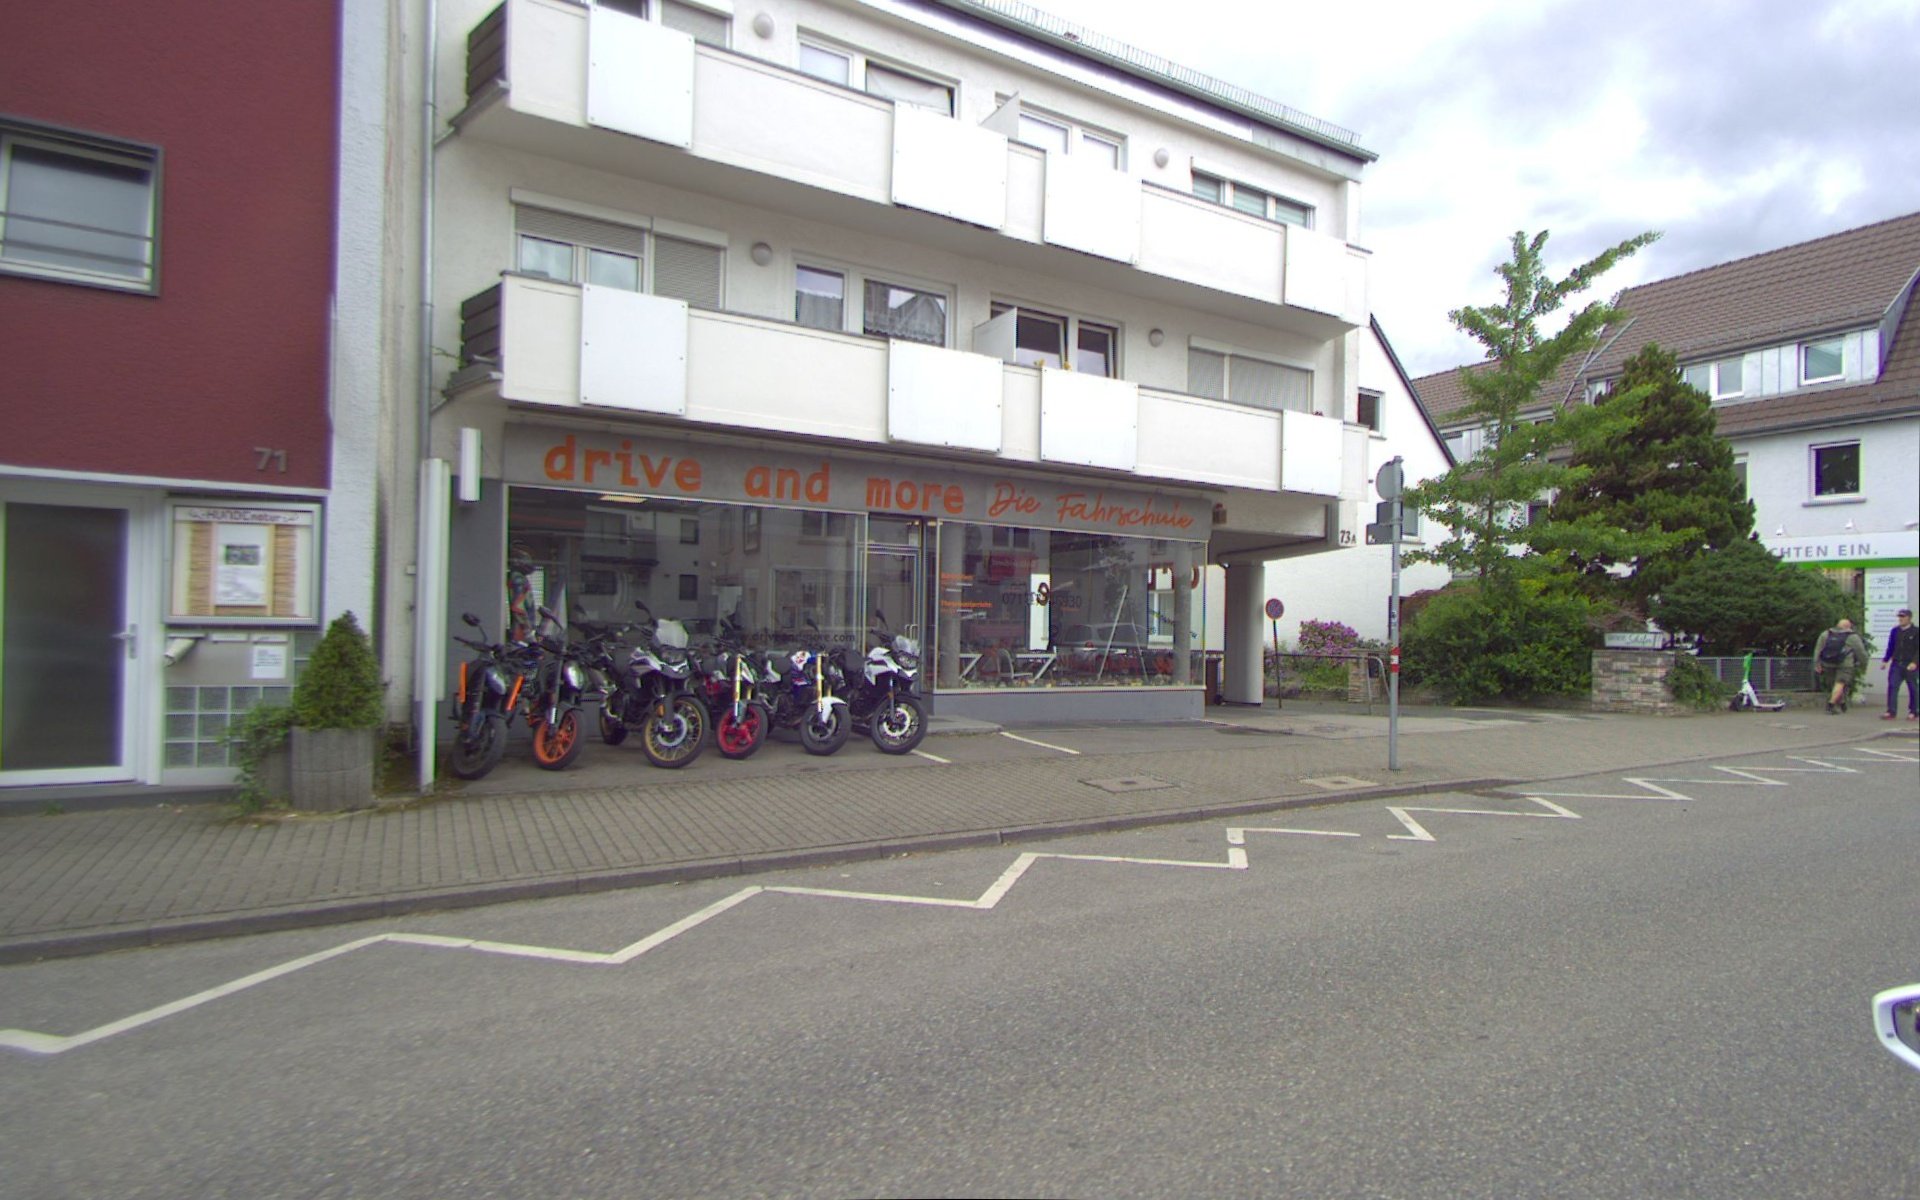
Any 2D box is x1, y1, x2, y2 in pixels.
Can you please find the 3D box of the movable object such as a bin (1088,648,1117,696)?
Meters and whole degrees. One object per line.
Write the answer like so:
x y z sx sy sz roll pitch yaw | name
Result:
3.224 1.619 22.690 0.436 1.071 0.486 1 -3 -29 | movable object such as a bin

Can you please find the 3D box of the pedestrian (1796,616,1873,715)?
16.288 1.203 18.712 1.007 1.767 0.748 2 1 -29 | pedestrian

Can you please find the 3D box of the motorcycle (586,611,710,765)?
-3.159 0.798 10.020 0.691 1.282 2.214 2 1 -30 | motorcycle

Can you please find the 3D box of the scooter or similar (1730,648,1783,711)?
14.737 1.453 18.574 1.166 1.126 0.338 2 -1 -29 | scooter or similar

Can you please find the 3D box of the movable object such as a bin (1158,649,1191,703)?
4.347 1.530 20.354 0.436 1.071 0.486 1 -3 -29 | movable object such as a bin

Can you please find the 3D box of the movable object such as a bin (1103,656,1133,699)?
3.483 1.708 22.175 0.436 0.924 0.486 1 -3 -29 | movable object such as a bin

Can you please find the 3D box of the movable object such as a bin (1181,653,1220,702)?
4.734 1.514 19.762 0.464 0.945 0.597 1 -3 -29 | movable object such as a bin

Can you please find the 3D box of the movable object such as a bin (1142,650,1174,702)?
4.106 1.570 20.816 0.436 1.071 0.486 1 -3 -29 | movable object such as a bin

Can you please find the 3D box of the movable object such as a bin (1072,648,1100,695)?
2.913 1.658 23.275 0.436 1.071 0.486 1 -3 -29 | movable object such as a bin

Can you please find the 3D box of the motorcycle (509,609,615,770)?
-3.843 0.776 9.586 0.606 1.282 2.214 2 1 -30 | motorcycle

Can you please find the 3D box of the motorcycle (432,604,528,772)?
-4.431 0.719 9.189 0.606 1.282 2.214 2 1 -30 | motorcycle

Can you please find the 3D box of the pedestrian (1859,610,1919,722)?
16.644 1.148 17.751 1.007 1.874 0.748 2 2 -29 | pedestrian

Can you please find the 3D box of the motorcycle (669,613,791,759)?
-2.447 0.821 10.470 0.606 1.282 2.214 2 1 -30 | motorcycle

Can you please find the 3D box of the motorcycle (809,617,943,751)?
-1.006 0.880 11.355 0.606 1.282 2.214 2 1 -30 | motorcycle

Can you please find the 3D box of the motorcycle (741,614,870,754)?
-1.731 0.842 10.908 0.606 1.282 2.214 2 1 -30 | motorcycle
